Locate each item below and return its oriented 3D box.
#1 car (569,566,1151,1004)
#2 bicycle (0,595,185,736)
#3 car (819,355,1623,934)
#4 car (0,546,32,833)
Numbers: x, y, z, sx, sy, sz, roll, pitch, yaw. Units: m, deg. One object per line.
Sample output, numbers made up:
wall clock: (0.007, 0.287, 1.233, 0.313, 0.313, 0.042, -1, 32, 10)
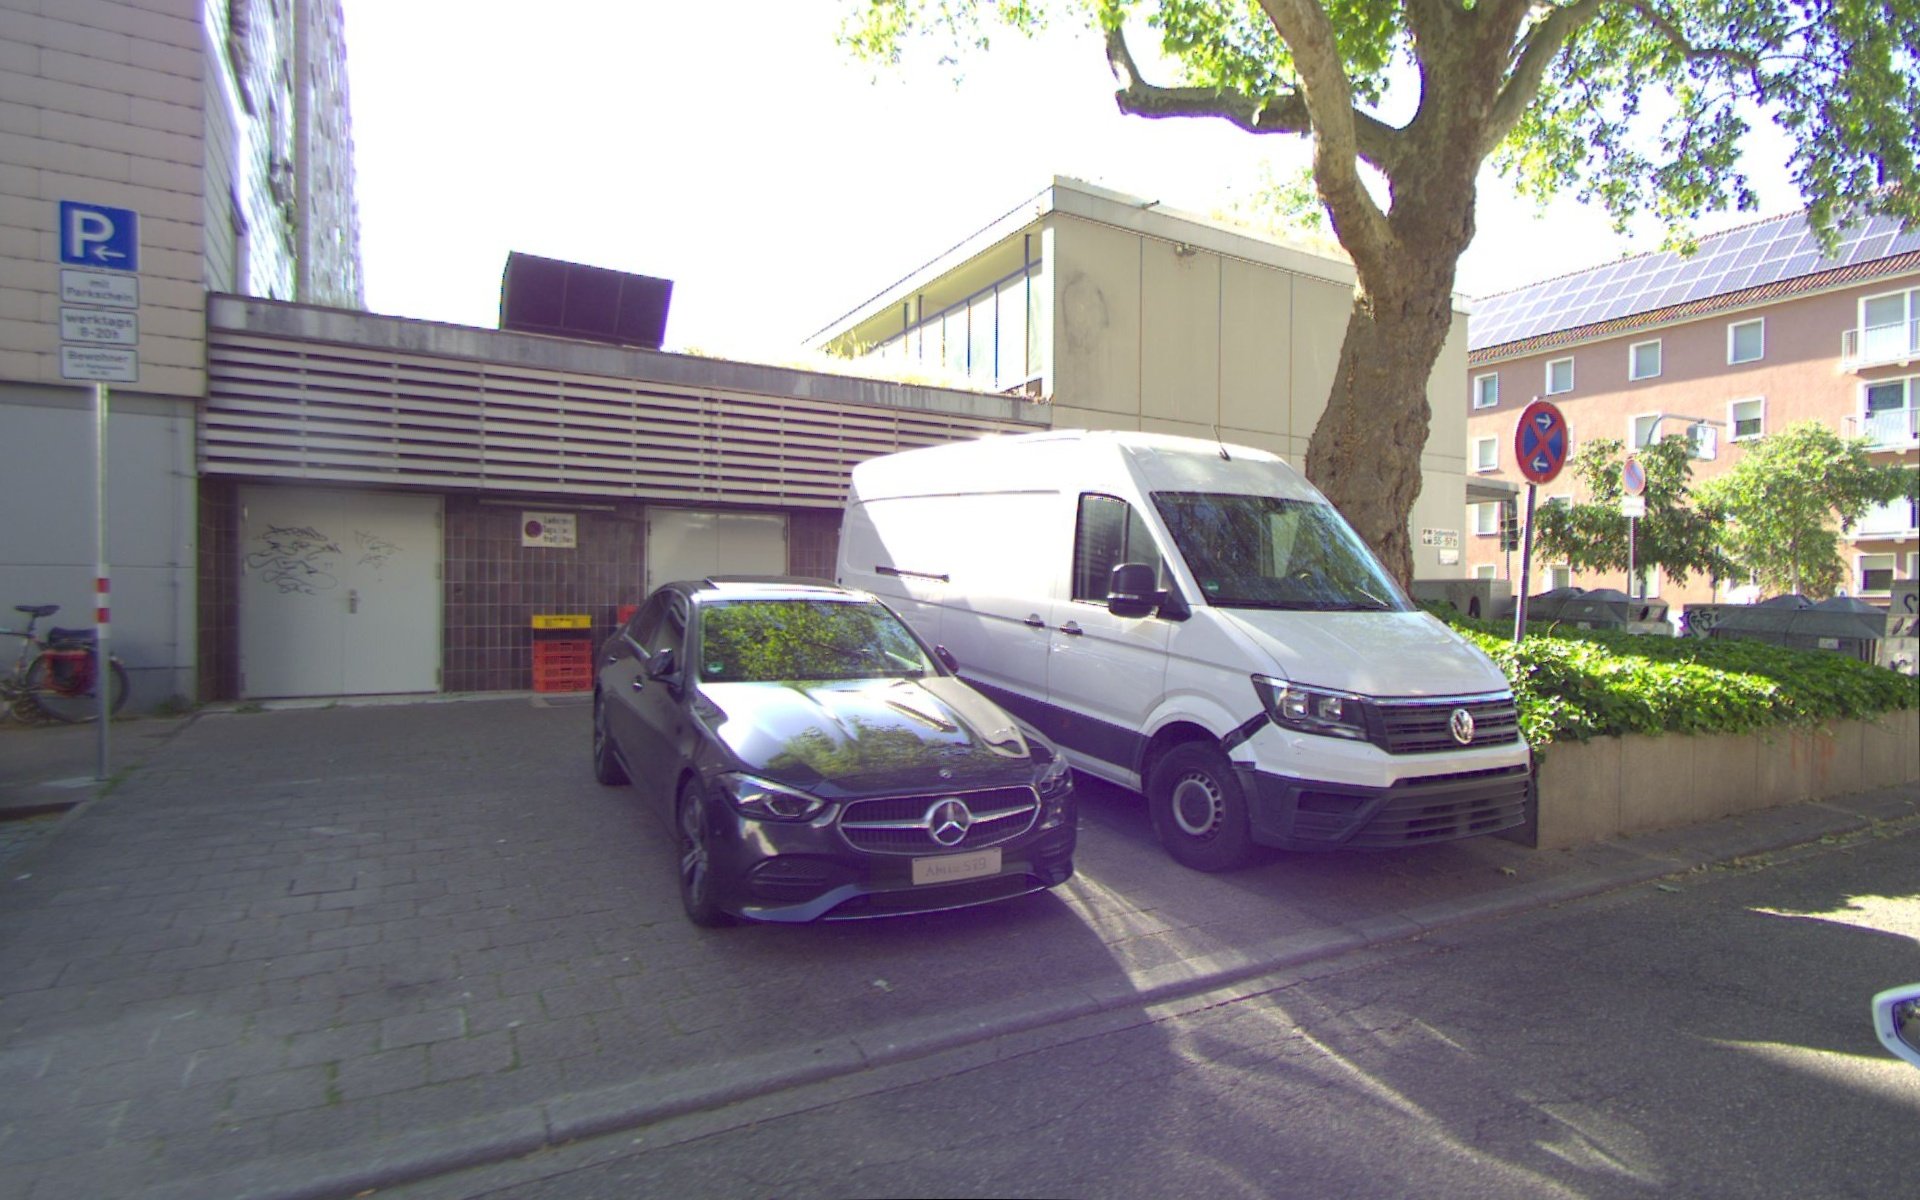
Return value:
car: (-1.049, 0.620, 6.065, 1.905, 1.490, 4.480, 1, 3, -28)
bicycle: (-7.875, 0.533, 8.496, 2.014, 1.139, 0.606, 0, 1, -31)
car: (1.065, 0.063, 7.963, 2.119, 2.589, 6.711, 1, 2, -28)
car: (-5.396, 0.540, 3.825, 1.895, 1.631, 4.440, 1, 1, -32)
